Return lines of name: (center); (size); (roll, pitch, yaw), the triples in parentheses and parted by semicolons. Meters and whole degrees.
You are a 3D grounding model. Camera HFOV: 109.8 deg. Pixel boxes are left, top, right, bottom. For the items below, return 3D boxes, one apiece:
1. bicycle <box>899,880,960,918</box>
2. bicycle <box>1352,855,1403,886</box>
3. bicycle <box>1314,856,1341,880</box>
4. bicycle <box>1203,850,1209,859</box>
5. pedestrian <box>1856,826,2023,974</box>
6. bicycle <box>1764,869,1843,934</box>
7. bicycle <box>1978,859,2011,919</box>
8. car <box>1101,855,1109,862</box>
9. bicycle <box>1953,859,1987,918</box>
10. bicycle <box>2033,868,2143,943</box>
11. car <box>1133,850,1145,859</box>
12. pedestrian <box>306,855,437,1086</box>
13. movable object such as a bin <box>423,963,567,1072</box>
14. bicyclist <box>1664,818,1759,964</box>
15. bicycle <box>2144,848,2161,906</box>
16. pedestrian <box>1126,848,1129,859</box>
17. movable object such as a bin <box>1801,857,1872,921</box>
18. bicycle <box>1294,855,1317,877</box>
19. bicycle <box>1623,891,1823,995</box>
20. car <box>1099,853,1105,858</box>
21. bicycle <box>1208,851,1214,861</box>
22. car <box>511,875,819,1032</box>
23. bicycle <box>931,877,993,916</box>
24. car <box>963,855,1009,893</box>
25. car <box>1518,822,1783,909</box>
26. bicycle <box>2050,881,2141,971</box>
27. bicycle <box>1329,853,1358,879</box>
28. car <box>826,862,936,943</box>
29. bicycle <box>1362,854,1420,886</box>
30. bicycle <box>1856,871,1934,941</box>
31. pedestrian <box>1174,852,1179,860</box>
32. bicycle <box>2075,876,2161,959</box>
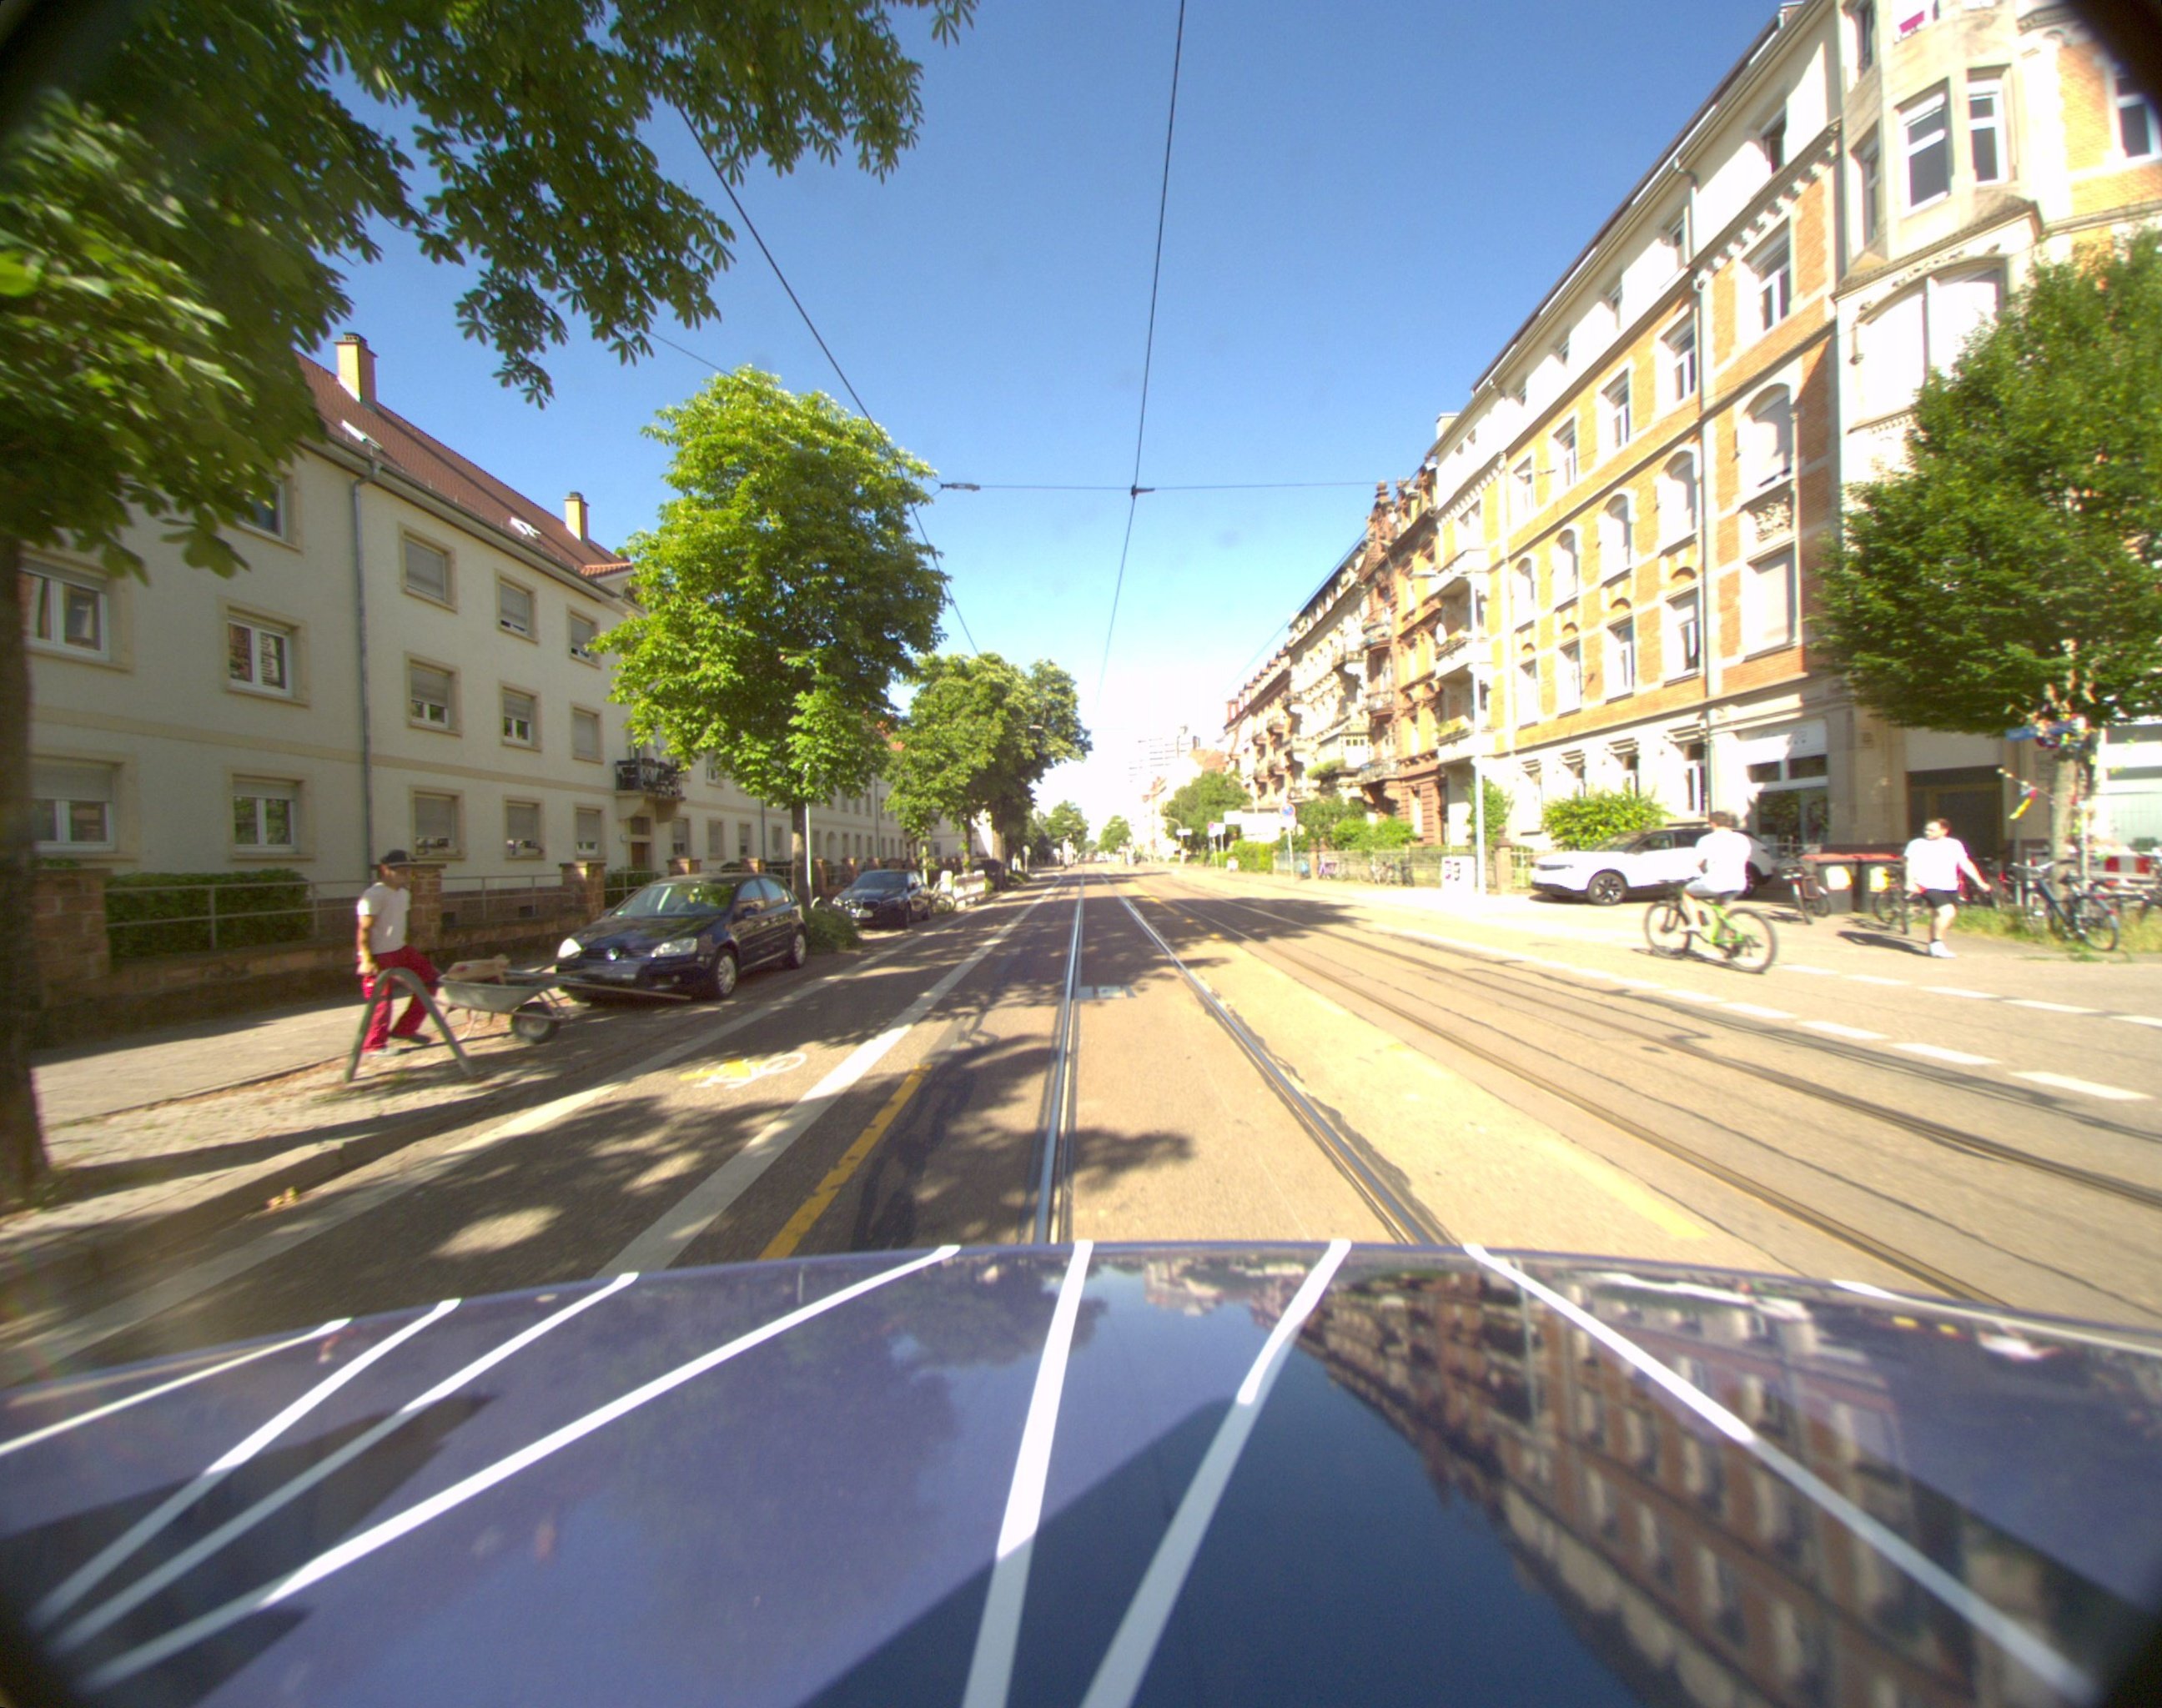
bicycle: (-4.737, 1.400, 23.767); (1.766, 1.071, 0.433); (-3, 1, 2)
bicycle: (10.893, 0.628, 27.955); (0.565, 1.027, 1.764); (-7, 0, -24)
bicycle: (10.939, 0.600, 33.730); (0.564, 1.027, 1.767); (-4, 0, 0)
bicycle: (12.960, 0.040, 78.731); (0.342, 0.920, 1.943); (-3, 0, 5)
pedestrian: (10.671, 0.535, 9.495); (0.831, 1.714, 1.082); (-3, 2, 3)
bicycle: (12.141, 0.765, 12.750); (1.791, 0.909, 0.619); (-4, 2, -35)
bicycle: (15.750, 0.580, 13.094); (1.545, 0.909, 0.246); (-4, 3, -35)
car: (6.483, 1.228, 202.745); (1.902, 1.608, 4.264); (0, 0, -1)
bicycle: (15.601, 0.591, 13.331); (1.545, 0.909, 0.246); (-4, 3, -35)
bicycle: (14.037, 0.683, 10.629); (0.619, 0.909, 1.297); (-1, 3, 39)
car: (11.006, 0.016, 143.906); (1.836, 1.509, 4.967); (-4, 0, 1)
pedestrian: (-5.858, 0.891, 6.324); (0.602, 1.760, 0.911); (0, 0, -30)
movable object such as a bin: (-5.117, 1.406, 6.700); (0.925, 0.739, 0.665); (1, 1, -30)
bicyclist: (7.241, 0.405, 8.756); (0.465, 1.609, 0.744); (0, 1, 0)
bicycle: (19.927, 0.371, 13.237); (1.600, 1.031, 0.407); (-3, -1, 25)
pedestrian: (7.607, -0.046, 123.986); (0.466, 1.774, 0.673); (-2, 1, -1)
movable object such as a bin: (13.412, 0.610, 13.501); (0.577, 1.064, 0.717); (-3, 1, 14)
bicycle: (11.047, 0.601, 37.429); (0.564, 1.027, 1.768); (-4, -1, 1)
bicycle: (7.237, 0.950, 8.742); (0.461, 0.920, 2.202); (-1, 0, 1)
car: (6.654, 0.531, 245.089); (1.694, 1.531, 3.799); (-4, 0, 4)
bicycle: (12.724, 0.221, 74.547); (0.342, 0.920, 1.943); (-3, 0, 5)
car: (-5.020, 1.085, 9.962); (1.724, 1.465, 4.245); (-1, 0, -1)
bicycle: (-3.623, 1.298, 23.261); (1.766, 1.071, 0.433); (-3, 1, 2)
car: (-4.882, 0.976, 39.585); (1.748, 1.755, 4.477); (-3, 0, 0)
car: (12.851, 0.239, 17.396); (4.456, 1.634, 1.967); (-3, 1, 3)
bicycle: (12.279, 0.837, 9.189); (1.297, 0.909, 0.619); (-4, 2, -35)
bicycle: (10.991, 0.482, 31.856); (0.564, 1.027, 1.767); (-4, 0, 0)
car: (-4.992, 1.138, 19.576); (1.670, 1.750, 4.231); (-2, 0, -1)
bicycle: (10.695, 0.565, 26.261); (0.566, 1.027, 1.763); (-3, -1, -36)
bicycle: (12.181, 0.750, 11.368); (1.297, 0.909, 0.619); (-4, 2, -35)
pedestrian: (16.397, 0.397, 130.143); (0.659, 1.274, 0.724); (-3, 1, 1)
bicycle: (13.659, 0.779, 9.174); (0.581, 0.970, 1.982); (-4, 1, -35)
